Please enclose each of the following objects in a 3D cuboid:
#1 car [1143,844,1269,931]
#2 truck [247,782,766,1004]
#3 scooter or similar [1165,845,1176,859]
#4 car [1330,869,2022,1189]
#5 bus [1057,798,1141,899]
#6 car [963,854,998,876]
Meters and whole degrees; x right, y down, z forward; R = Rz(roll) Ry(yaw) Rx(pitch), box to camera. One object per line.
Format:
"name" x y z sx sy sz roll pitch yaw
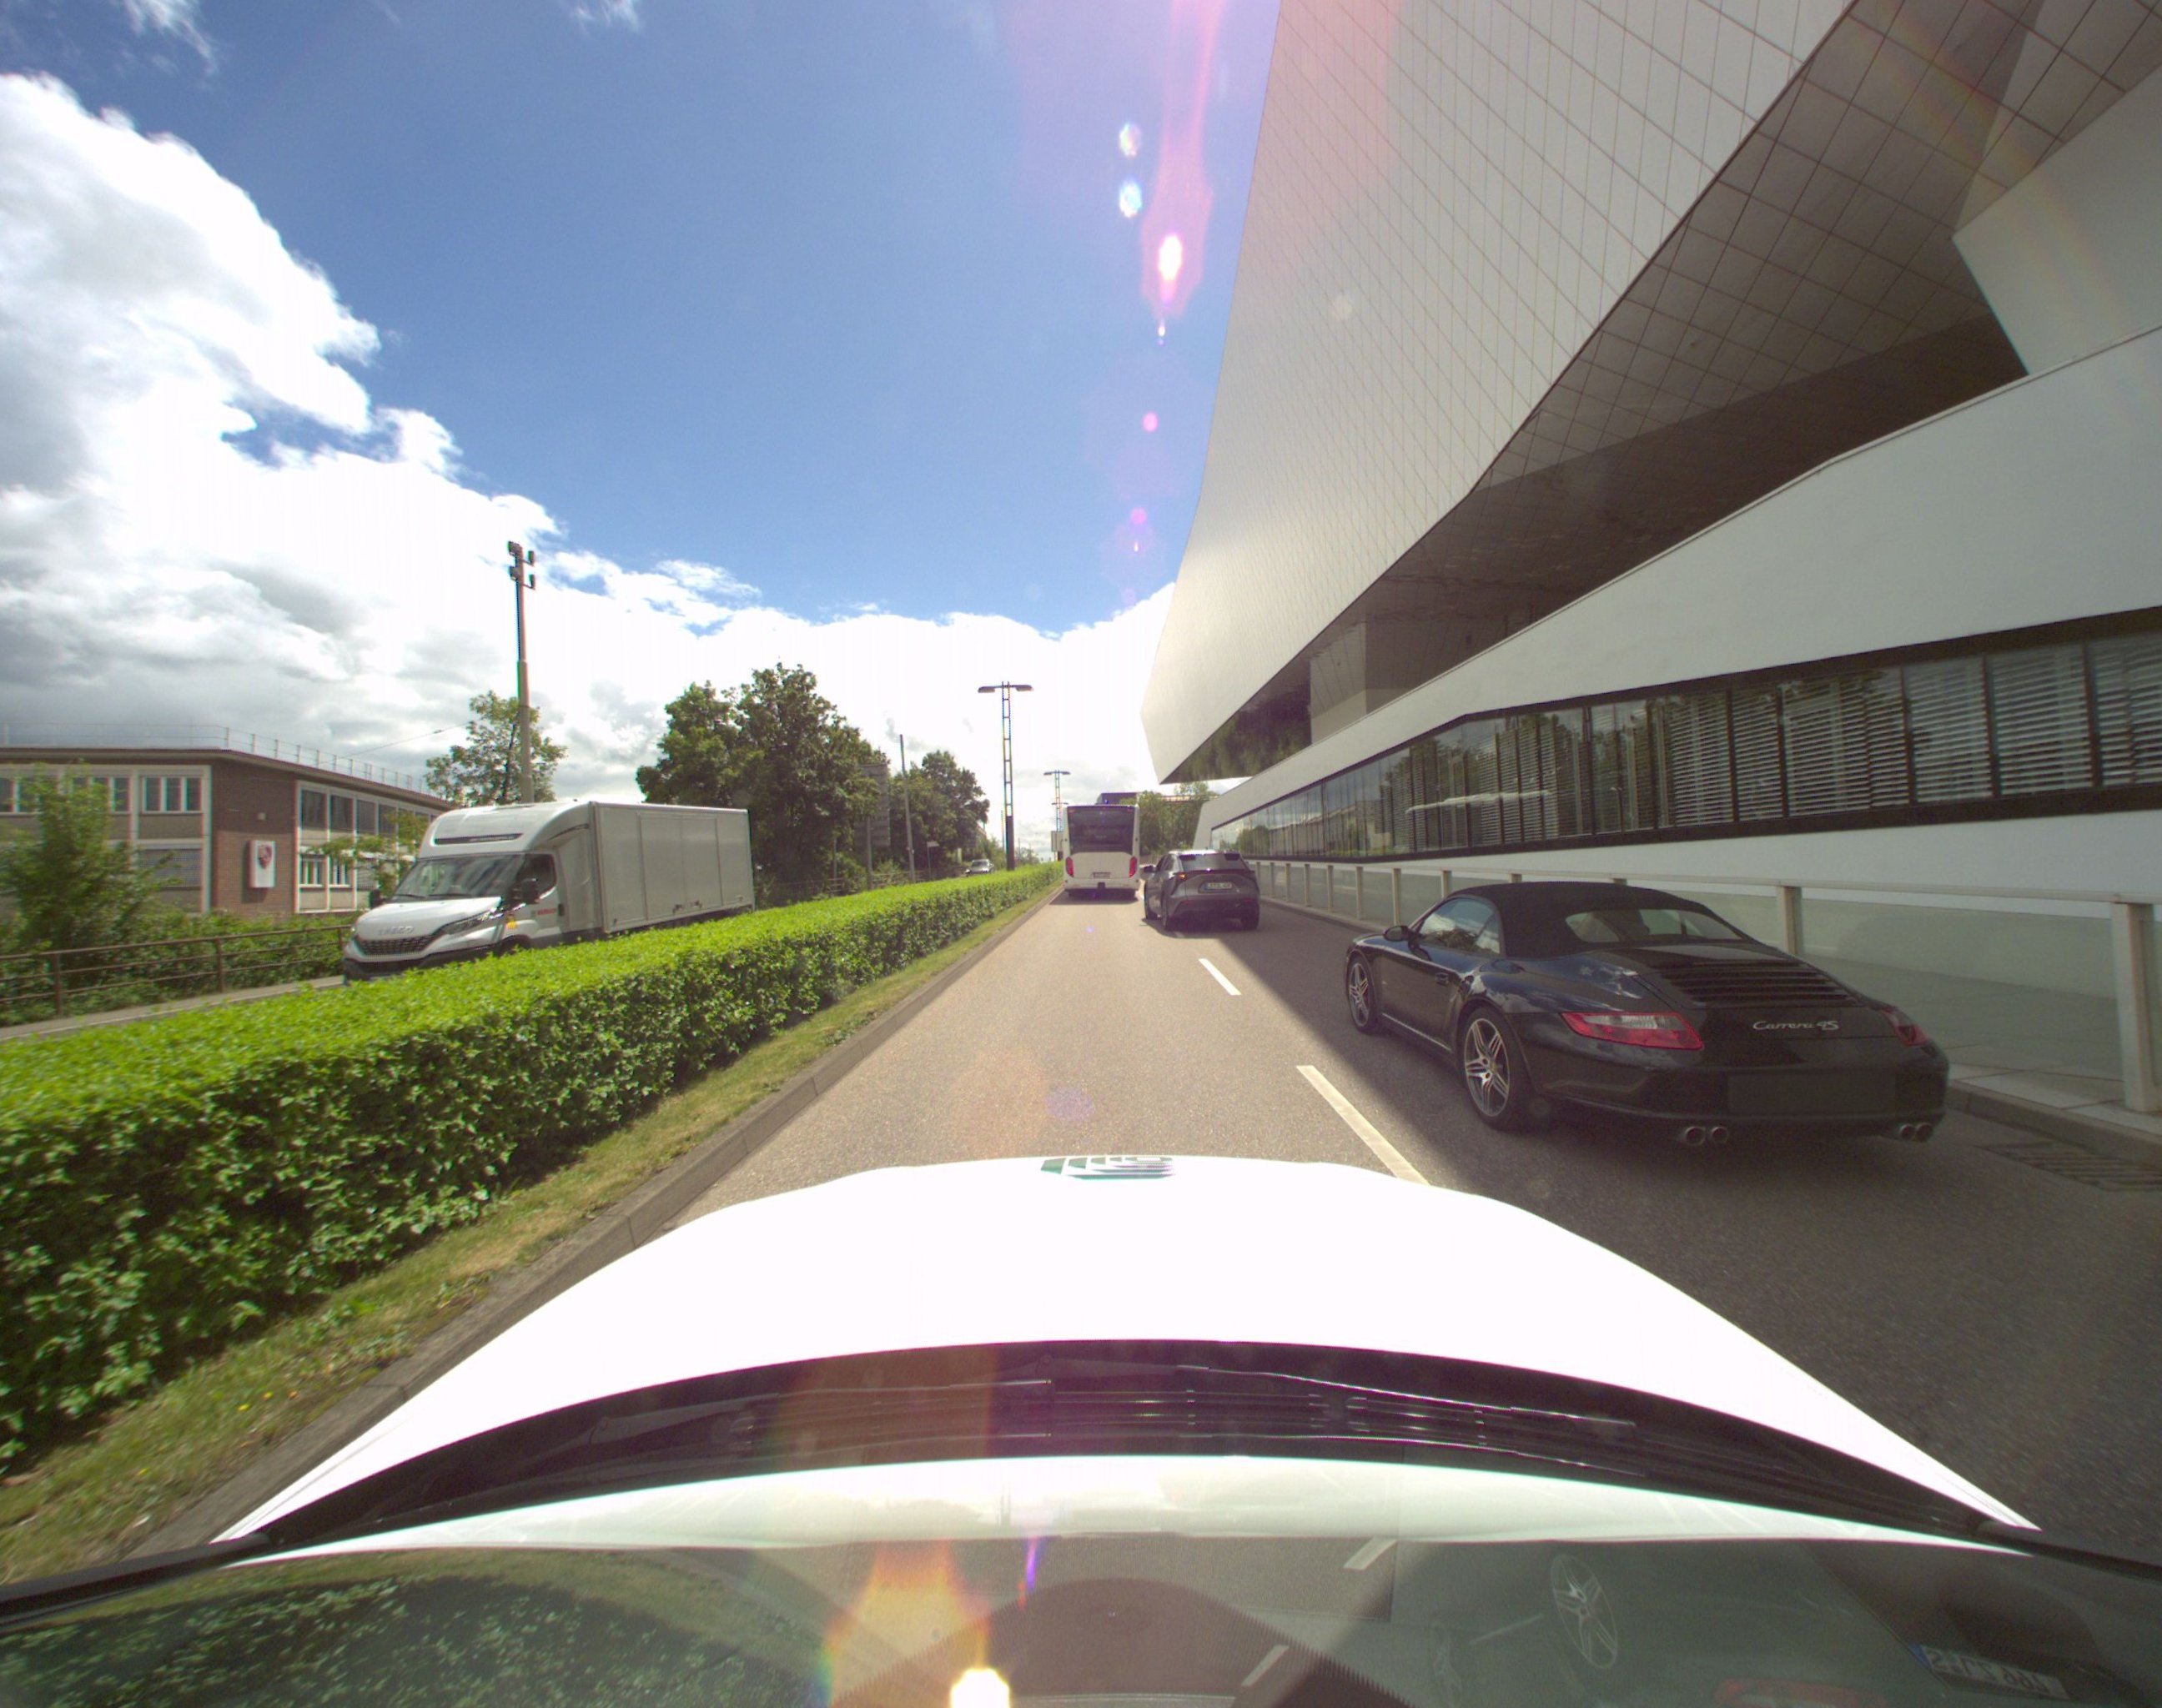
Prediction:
"car" 2.486 0.647 17.247 1.875 1.594 4.225 -1 -1 -2
"truck" -9.487 0.397 15.565 2.844 2.857 9.383 -2 2 2
"scooter or similar" 8.186 -0.134 74.254 0.652 1.214 1.856 -3 -1 -3
"car" 3.143 0.778 5.497 1.714 1.275 4.088 -1 0 1
"bus" 0.735 -0.242 32.333 2.679 3.255 12.061 -1 1 1
"car" -7.672 0.823 62.433 1.832 1.507 4.564 -3 0 3
